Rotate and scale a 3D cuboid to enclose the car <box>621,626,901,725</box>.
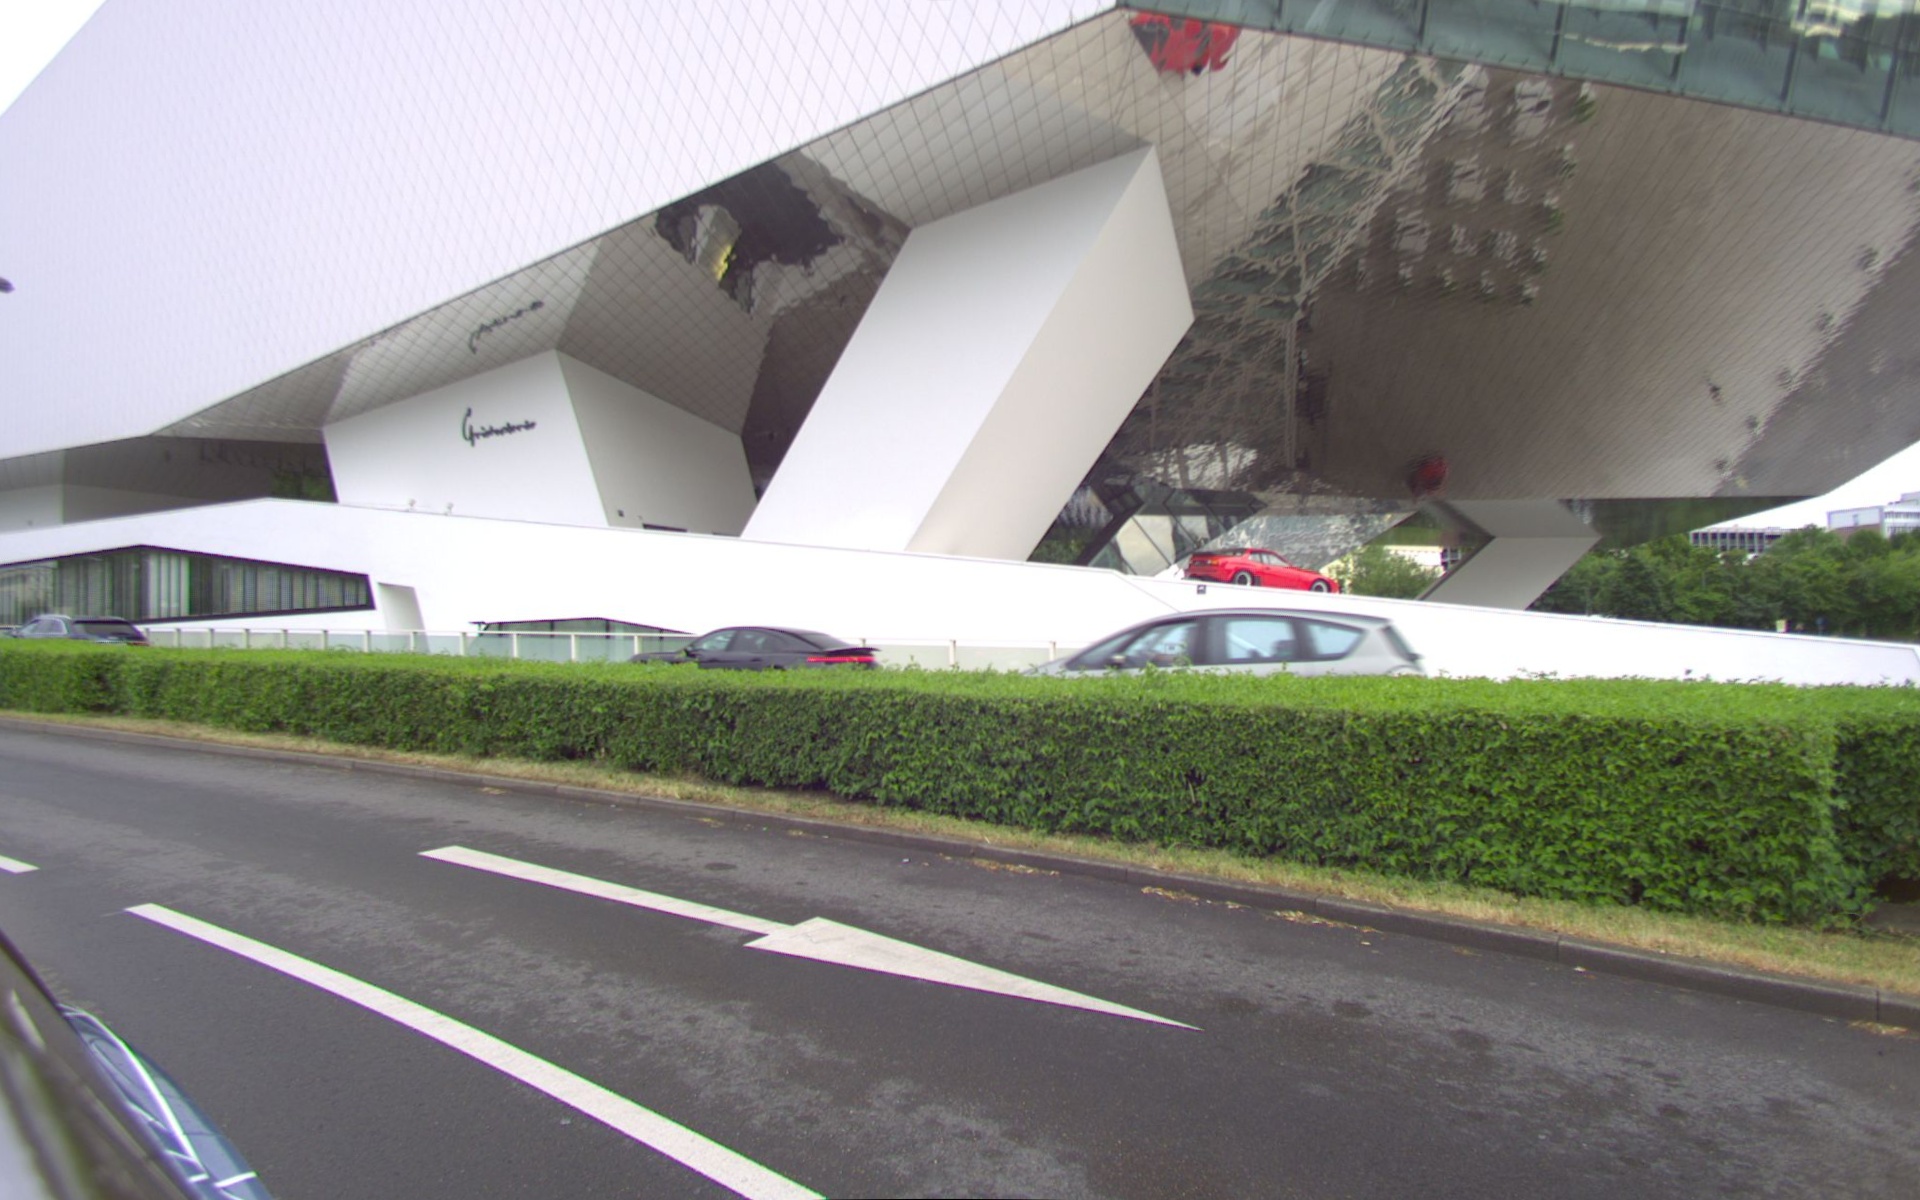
[{"bbox_3d":[-3.376,1.200,17.026,4.491,1.483,1.822,-1,-2,27],"label":"car"}]

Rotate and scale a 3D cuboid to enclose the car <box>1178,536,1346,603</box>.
[{"bbox_3d":[8.222,-0.789,27.589,4.032,1.252,1.643,7,-4,-15],"label":"car"}]

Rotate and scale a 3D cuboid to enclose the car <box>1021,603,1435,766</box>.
[{"bbox_3d":[2.824,0.838,10.934,3.970,1.505,1.827,-1,-2,20],"label":"car"}]

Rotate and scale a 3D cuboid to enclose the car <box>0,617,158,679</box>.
[{"bbox_3d":[-20.837,1.107,23.748,3.984,1.348,1.832,-1,-2,30],"label":"car"}]
